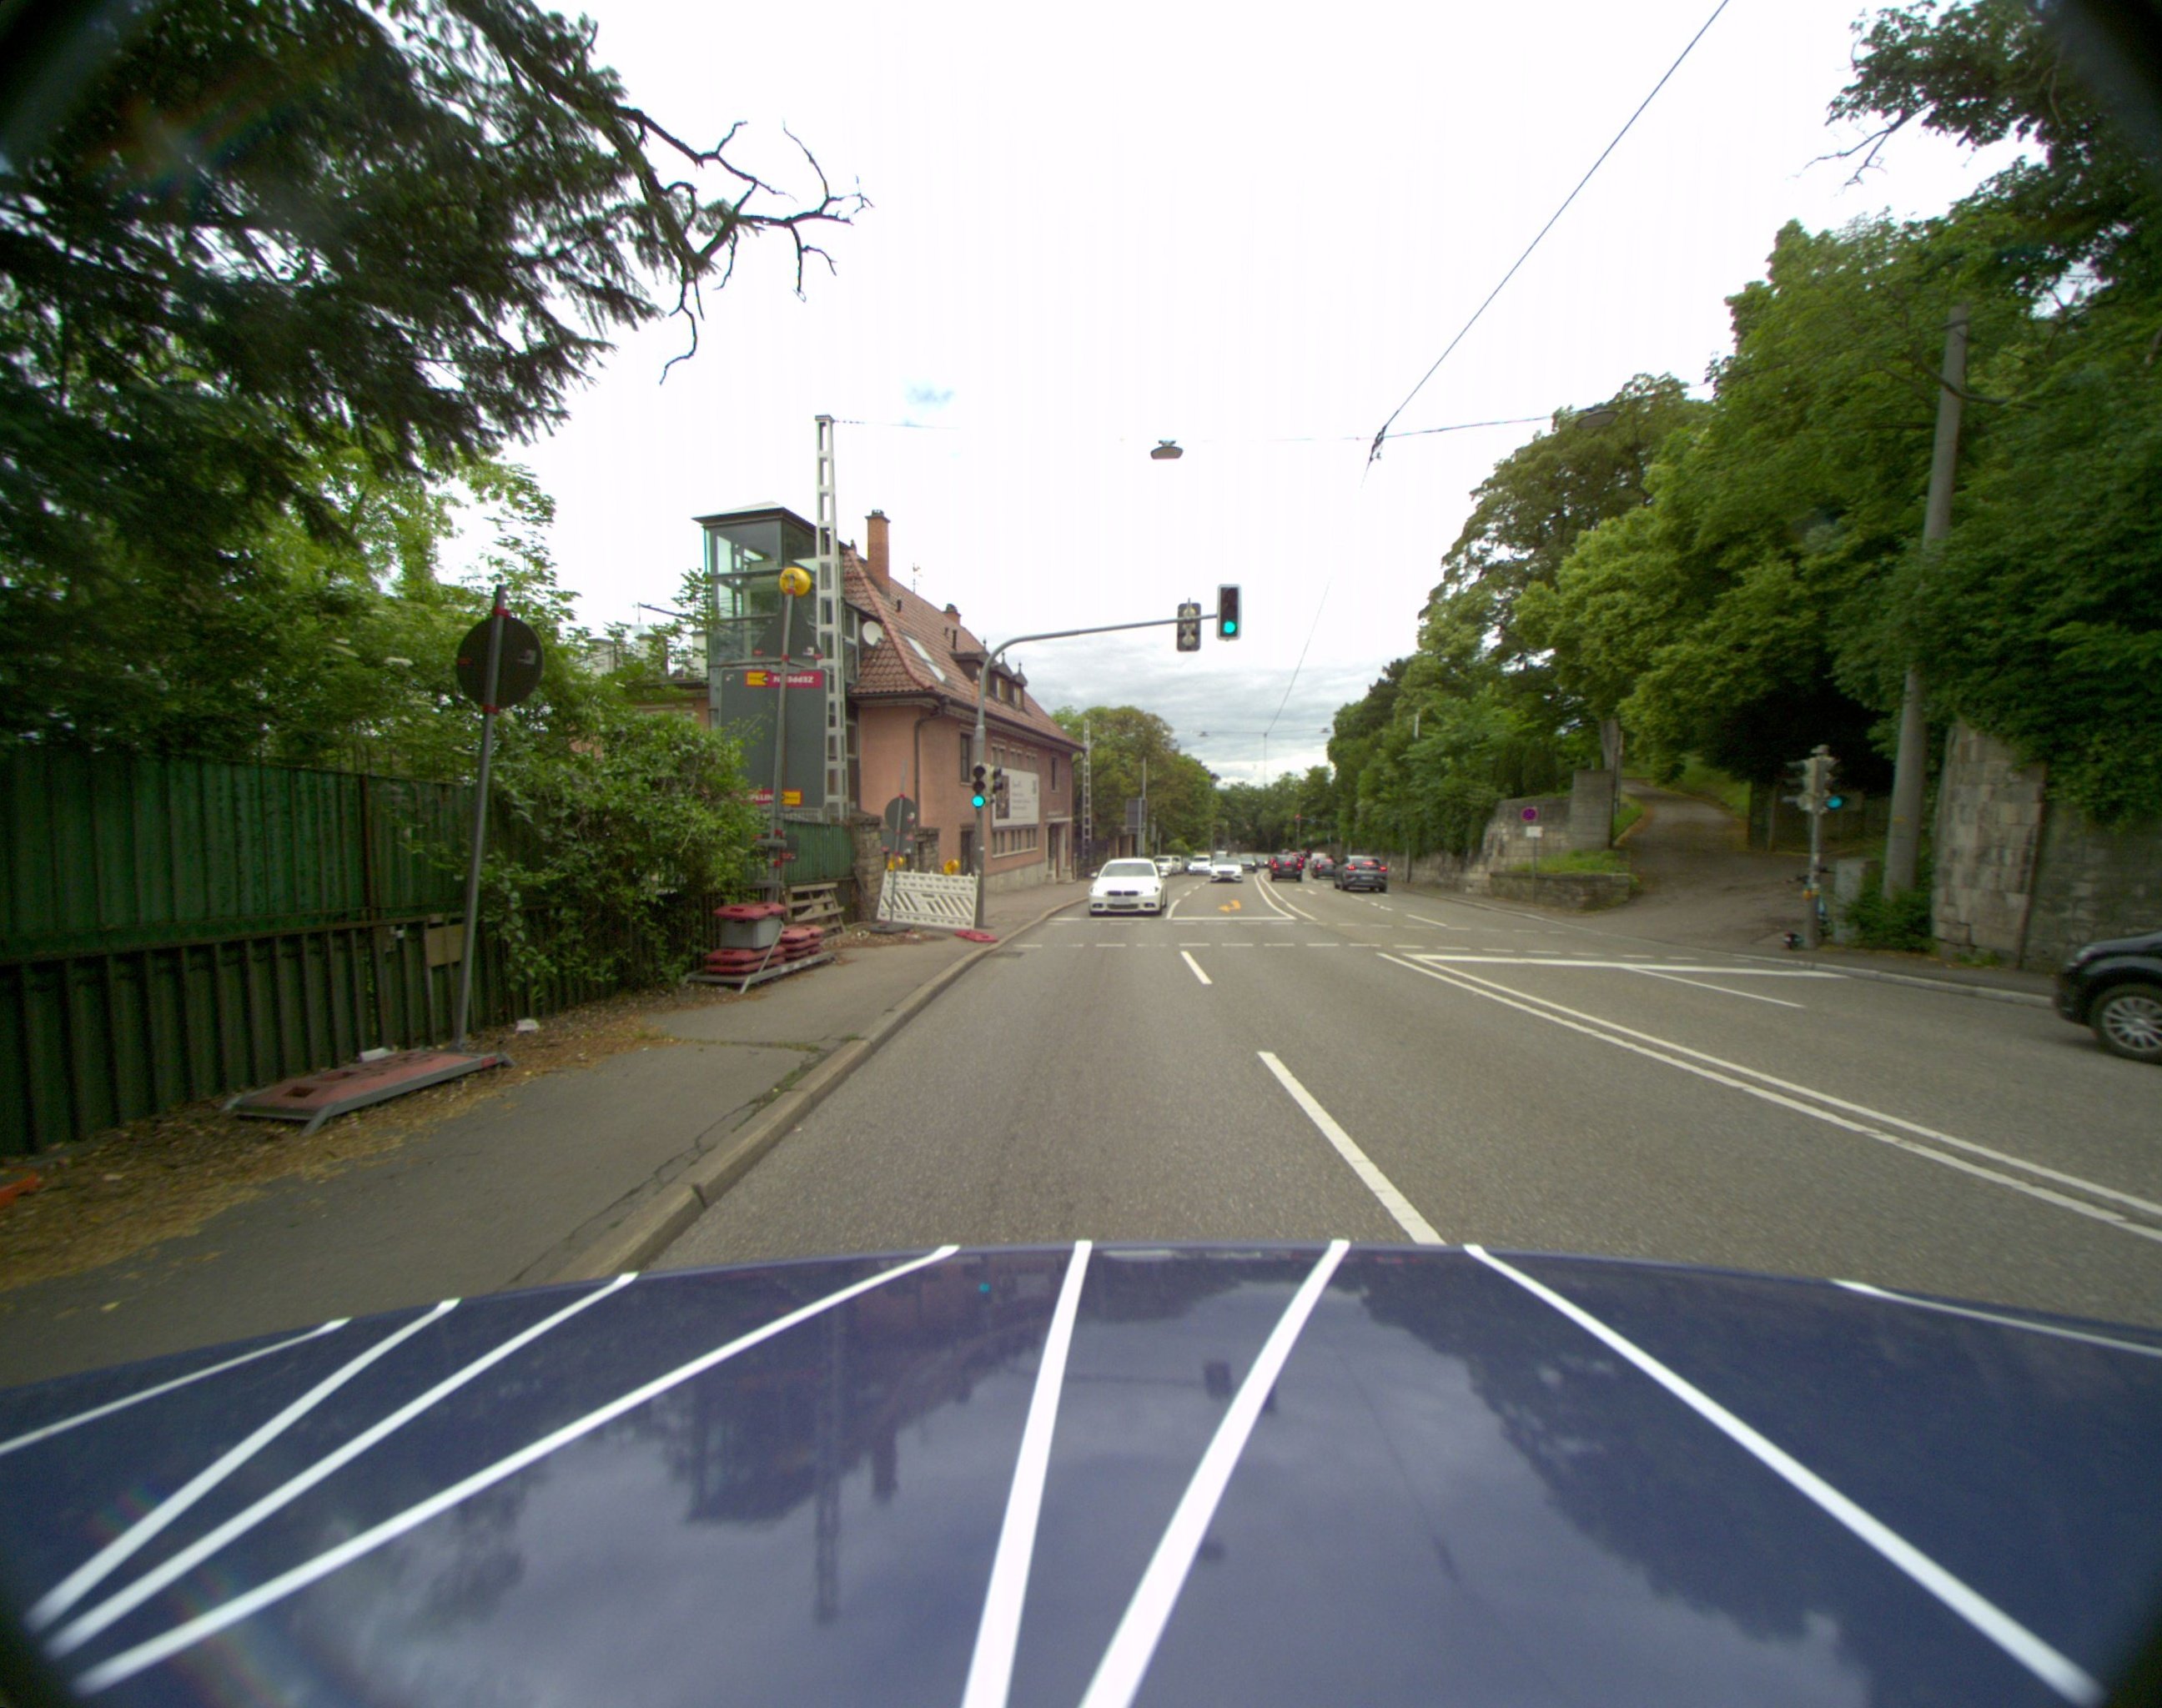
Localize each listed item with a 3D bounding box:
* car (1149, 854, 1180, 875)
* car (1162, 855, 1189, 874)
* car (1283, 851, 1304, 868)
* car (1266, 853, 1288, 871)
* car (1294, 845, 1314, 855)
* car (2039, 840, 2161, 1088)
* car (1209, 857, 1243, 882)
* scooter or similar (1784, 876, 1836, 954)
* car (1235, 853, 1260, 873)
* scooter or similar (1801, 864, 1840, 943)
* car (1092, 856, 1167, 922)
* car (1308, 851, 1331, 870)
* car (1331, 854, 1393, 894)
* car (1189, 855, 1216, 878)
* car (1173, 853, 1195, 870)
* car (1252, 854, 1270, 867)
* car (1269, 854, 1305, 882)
[{"bbox_3d":[6.326,0.756,57.213,1.677,1.453,4.370,2,1,15],"label":"car"},{"bbox_3d":[7.904,0.855,63.259,1.717,1.463,4.042,1,0,14],"label":"car"},{"bbox_3d":[23.800,0.533,85.056,1.962,1.740,4.884,2,2,19],"label":"car"},{"bbox_3d":[17.740,0.698,68.856,1.851,1.623,4.366,0,0,14],"label":"car"},{"bbox_3d":[34.711,-0.649,118.475,1.847,1.401,4.455,2,1,0],"label":"car"},{"bbox_3d":[8.884,0.856,4.217,1.748,1.835,4.249,2,0,2],"label":"car"},{"bbox_3d":[8.380,0.857,44.032,1.801,1.382,3.530,1,0,10],"label":"car"},{"bbox_3d":[12.653,1.039,13.182,1.100,1.230,0.433,-5,1,-37],"label":"scooter or similar"},{"bbox_3d":[14.936,0.783,68.367,1.956,1.730,4.003,1,0,9],"label":"car"},{"bbox_3d":[13.778,0.904,14.144,1.351,1.231,0.433,-10,4,-44],"label":"scooter or similar"},{"bbox_3d":[1.424,0.855,20.717,1.822,1.463,4.785,0,1,6],"label":"car"},{"bbox_3d":[24.716,0.619,78.926,1.895,1.837,4.400,2,1,12],"label":"car"},{"bbox_3d":[12.568,0.852,34.228,1.996,1.598,4.481,2,1,13],"label":"car"},{"bbox_3d":[9.651,0.958,60.564,1.957,1.761,4.002,1,0,6],"label":"car"},{"bbox_3d":[9.578,0.691,70.529,1.563,1.414,3.428,4,2,16],"label":"car"},{"bbox_3d":[20.240,0.759,85.427,1.833,1.369,4.004,1,1,15],"label":"car"},{"bbox_3d":[12.422,0.821,45.964,1.757,1.557,3.682,2,0,10],"label":"car"}]
